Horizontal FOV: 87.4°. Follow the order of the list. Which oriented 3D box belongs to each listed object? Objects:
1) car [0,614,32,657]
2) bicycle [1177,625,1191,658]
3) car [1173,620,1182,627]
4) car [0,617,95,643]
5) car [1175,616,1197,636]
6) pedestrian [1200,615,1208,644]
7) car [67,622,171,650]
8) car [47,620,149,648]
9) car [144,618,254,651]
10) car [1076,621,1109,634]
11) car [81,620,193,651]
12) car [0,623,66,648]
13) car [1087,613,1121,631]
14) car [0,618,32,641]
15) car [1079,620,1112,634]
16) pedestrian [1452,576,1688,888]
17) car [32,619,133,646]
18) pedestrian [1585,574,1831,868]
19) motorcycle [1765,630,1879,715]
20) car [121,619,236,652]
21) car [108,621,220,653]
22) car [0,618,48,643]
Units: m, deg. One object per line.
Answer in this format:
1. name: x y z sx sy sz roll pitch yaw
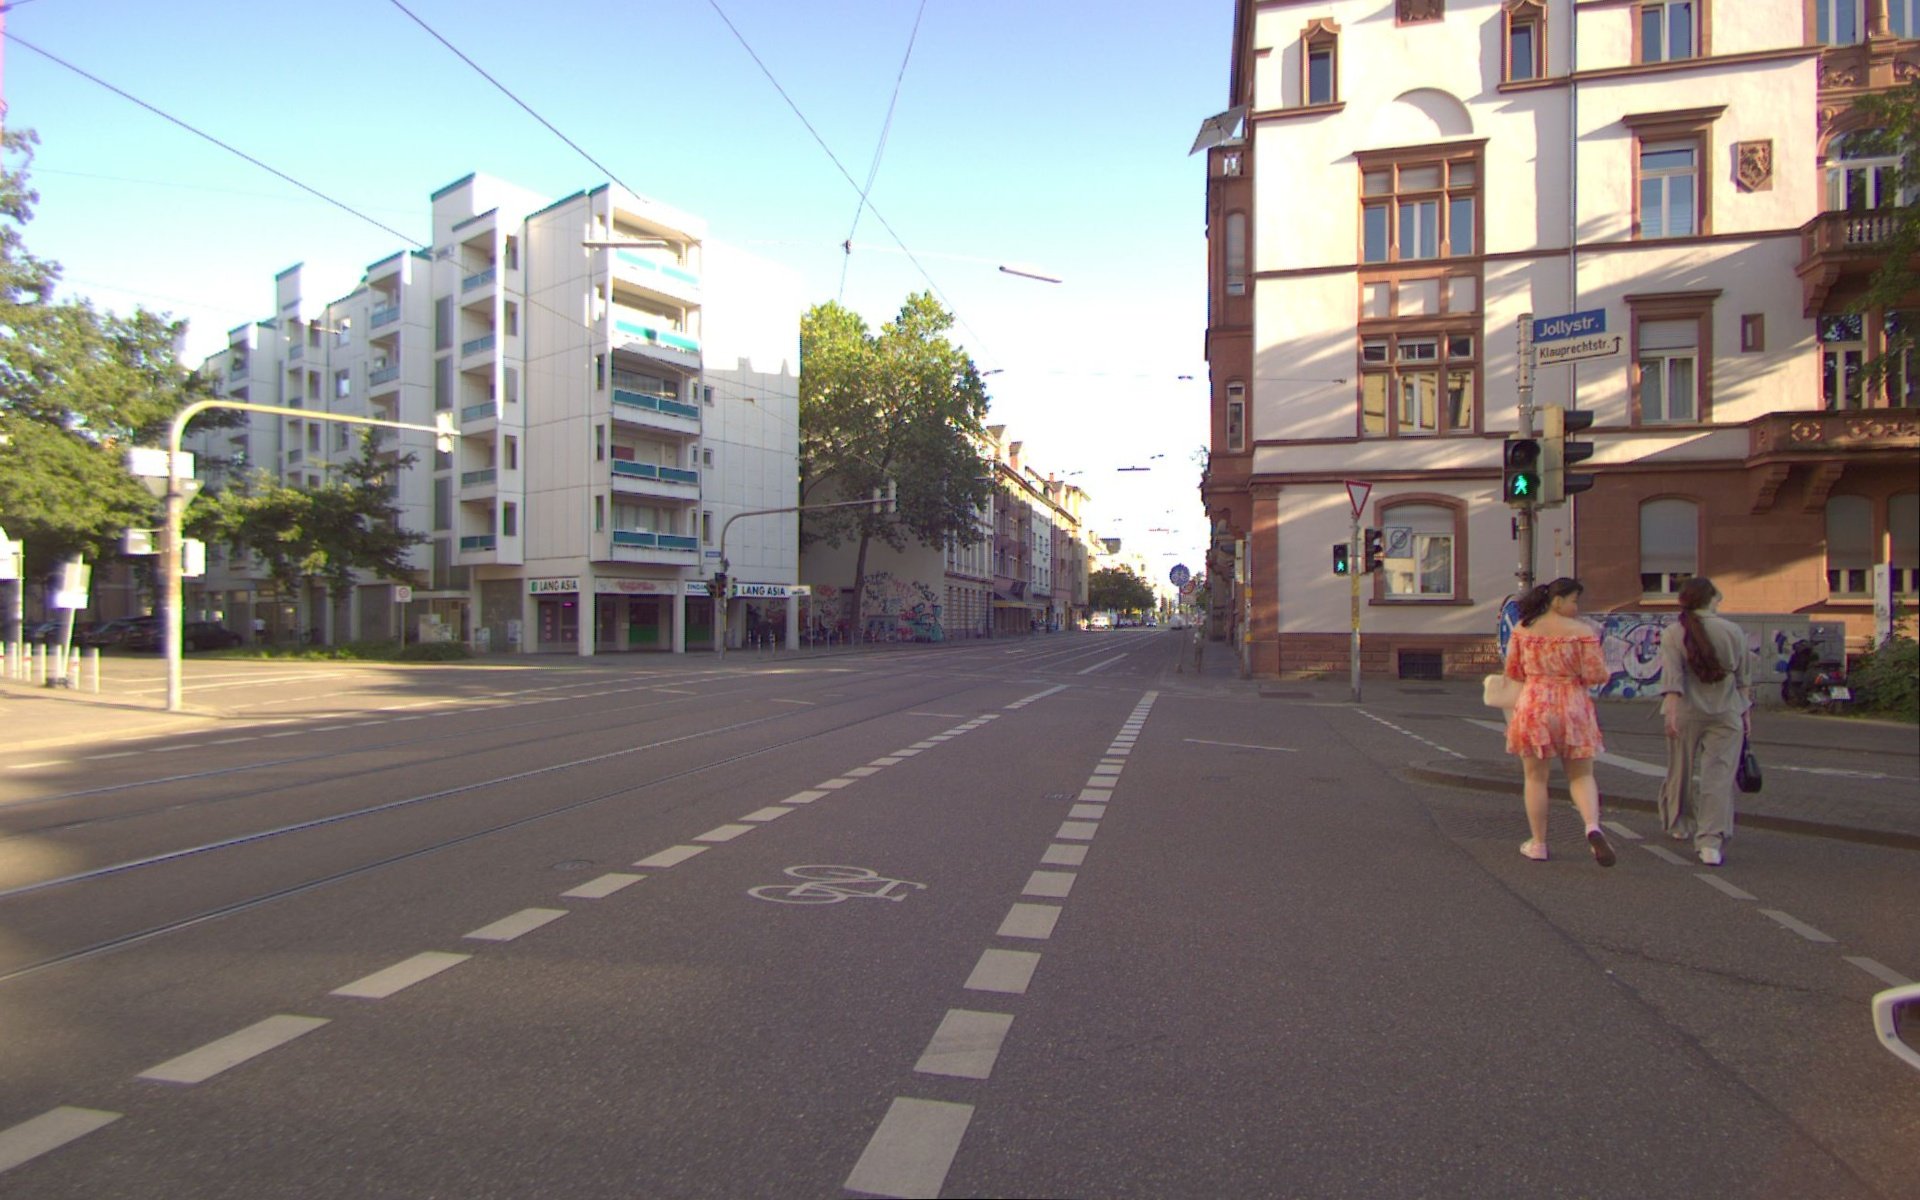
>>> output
1. car: -42.001 1.489 42.514 3.919 1.773 2.001 0 -1 9
2. bicycle: 8.717 1.596 39.184 0.509 1.230 2.010 0 -1 12
3. car: 54.896 5.868 253.457 1.959 1.715 4.003 0 -1 11
4. car: -58.302 1.903 64.125 1.965 1.606 4.296 0 -1 30
5. car: 23.982 2.766 106.462 1.960 2.040 4.001 0 -1 17
6. pedestrian: 15.326 1.862 63.072 0.484 1.835 0.628 0 -1 18
7. car: -49.285 2.078 58.938 1.965 1.606 4.296 0 -1 30
8. car: -52.002 2.027 60.688 1.965 1.606 4.296 0 -1 30
9. car: -38.542 1.704 50.939 1.964 1.606 3.994 0 -1 29
10. car: 19.949 4.113 150.825 4.661 2.040 2.291 0 -1 16
11. car: -44.821 1.916 54.806 1.964 1.606 4.298 0 -1 29
12. car: -61.805 2.296 65.935 1.965 1.606 4.296 0 -1 30
13. car: 22.806 3.515 158.959 4.674 2.720 2.520 0 -1 -13
14. car: -67.065 2.026 69.149 1.965 1.606 4.296 0 -1 30
15. car: 20.681 4.150 153.283 4.661 2.040 2.527 0 -1 16
16. pedestrian: 3.625 0.739 6.071 0.852 1.720 0.985 0 -1 4
17. car: -54.027 1.988 61.921 1.965 1.606 4.296 0 -1 30
18. pedestrian: 4.703 0.717 6.404 0.852 1.720 0.985 0 -1 4
19. motorcycle: 14.097 1.144 16.503 0.827 1.282 2.109 0 -1 24
20. car: -40.598 1.824 52.304 1.964 1.606 4.298 0 -1 29
21. car: -42.619 1.962 53.859 1.964 1.606 4.298 0 -1 29
22. car: -64.656 2.051 67.742 1.965 1.606 4.296 0 -1 30
